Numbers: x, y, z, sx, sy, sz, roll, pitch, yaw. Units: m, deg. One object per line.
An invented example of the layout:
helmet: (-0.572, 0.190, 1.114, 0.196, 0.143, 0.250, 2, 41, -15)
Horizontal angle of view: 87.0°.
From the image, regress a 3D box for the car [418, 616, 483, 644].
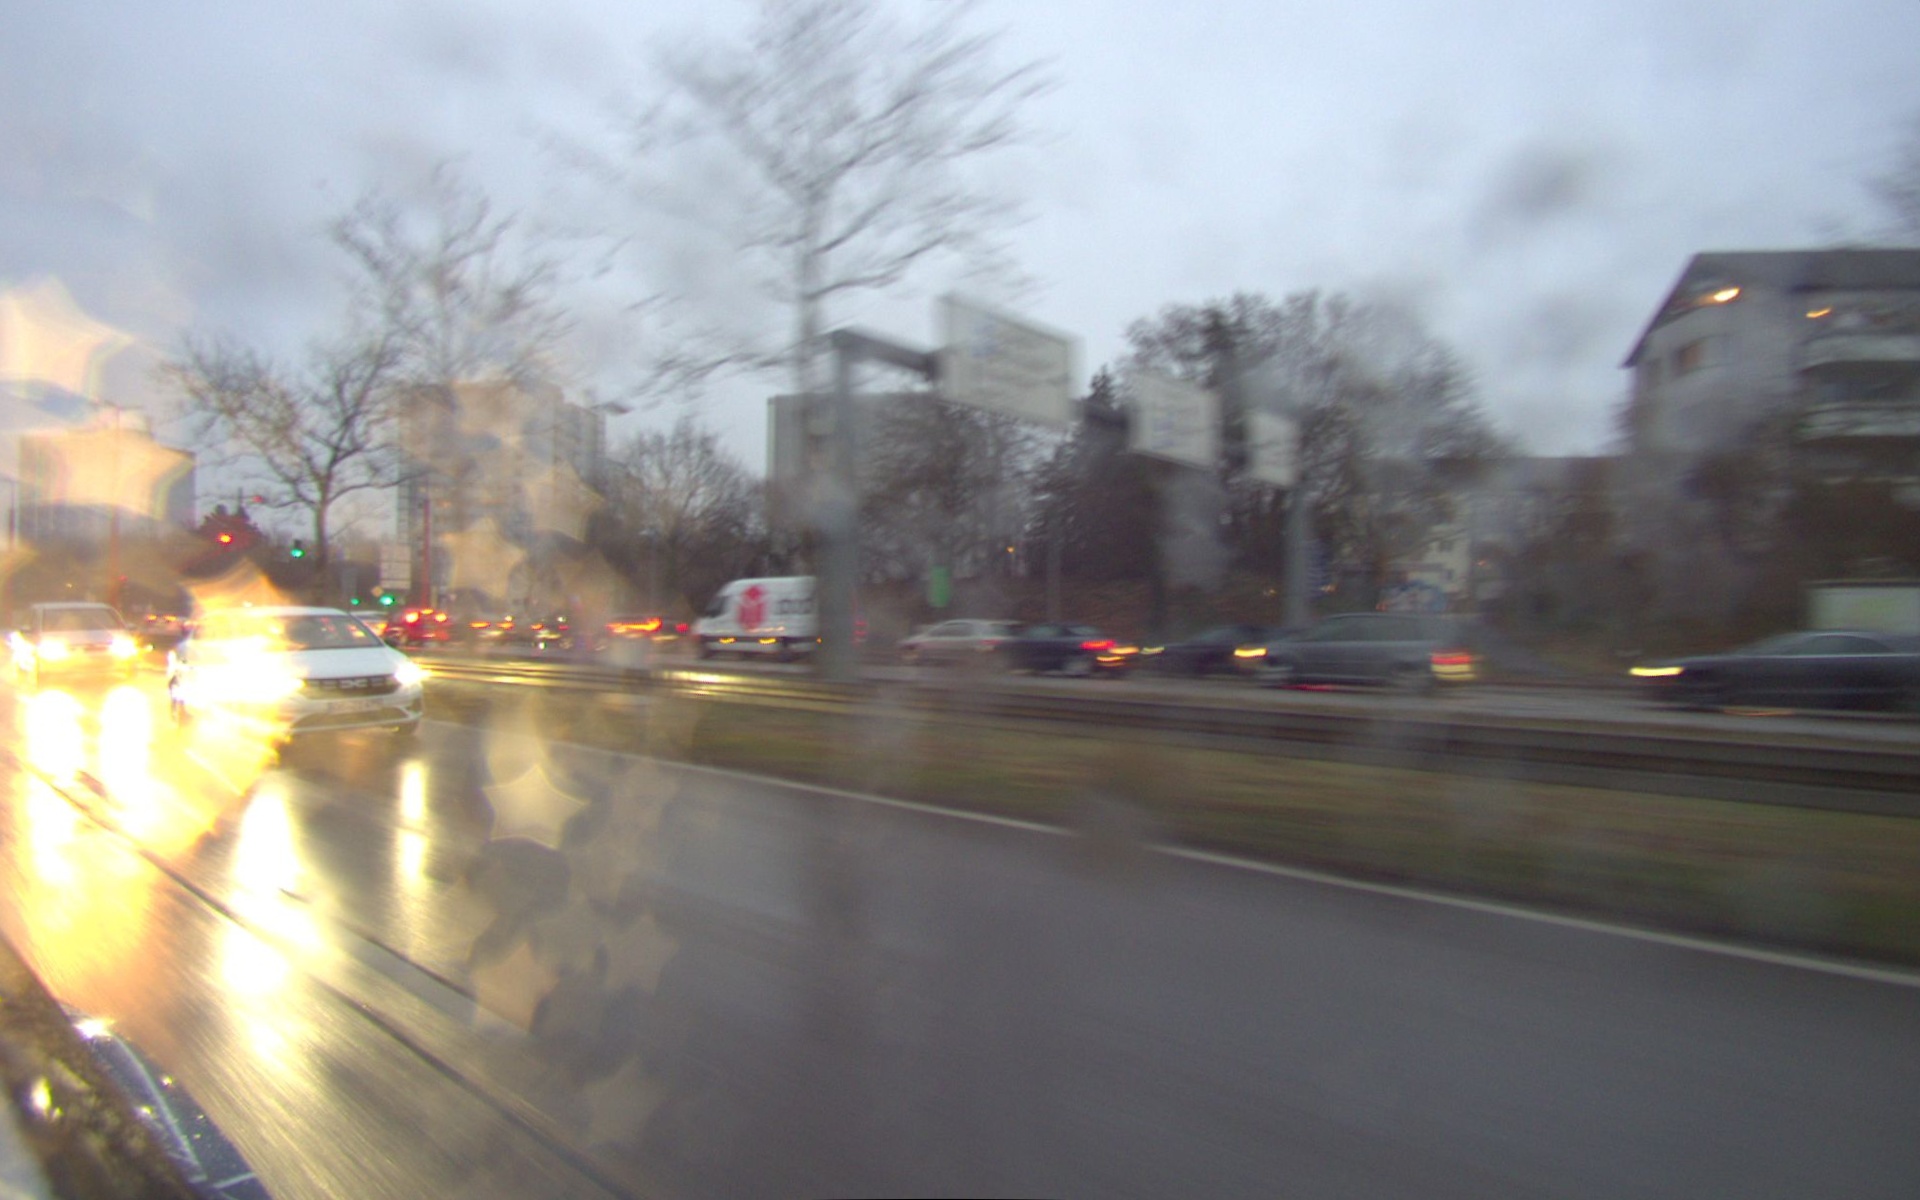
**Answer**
car: (-29.264, 1.697, 58.084, 4.436, 1.506, 1.752, -1, -1, 40)

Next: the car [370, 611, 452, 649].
car: (-23.851, 1.282, 43.925, 4.030, 1.598, 1.752, -1, -1, 40)

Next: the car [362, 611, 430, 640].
car: (-30.653, 1.367, 54.994, 4.436, 1.506, 1.752, -1, -1, 40)

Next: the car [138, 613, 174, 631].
car: (-73.572, 1.993, 92.577, 3.943, 1.565, 1.752, -1, -1, 40)

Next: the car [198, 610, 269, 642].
car: (-36.517, 1.296, 50.797, 4.836, 1.548, 1.752, -1, -1, 40)

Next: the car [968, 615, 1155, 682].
car: (2.426, 1.123, 25.128, 1.882, 1.457, 4.458, 0, 0, -45)

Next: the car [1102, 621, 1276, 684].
car: (5.960, 1.323, 26.599, 4.169, 1.457, 1.718, 0, 0, 41)

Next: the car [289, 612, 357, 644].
car: (-33.471, 1.441, 53.141, 4.284, 1.611, 1.838, -1, -1, 40)

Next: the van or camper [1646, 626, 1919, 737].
van or camper: (13.447, 1.170, 15.102, 5.155, 1.457, 1.884, 0, 0, 41)

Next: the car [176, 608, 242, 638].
car: (-41.480, 1.262, 55.889, 4.073, 1.594, 1.839, -1, -1, 37)

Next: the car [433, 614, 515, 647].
car: (-23.087, 1.401, 47.992, 4.646, 1.501, 1.752, -1, -1, 40)

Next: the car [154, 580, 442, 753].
car: (-7.763, 0.651, 11.713, 4.144, 1.660, 1.696, 0, -1, 41)

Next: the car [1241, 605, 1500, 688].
car: (8.082, 0.841, 20.148, 4.440, 1.457, 1.884, 0, 0, 41)

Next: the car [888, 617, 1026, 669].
car: (-0.146, 1.273, 31.561, 4.087, 1.457, 1.884, 0, 0, 41)

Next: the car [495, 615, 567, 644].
car: (-21.739, 1.480, 51.193, 3.997, 1.409, 1.738, 0, -1, 40)

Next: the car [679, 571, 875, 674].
car: (-6.098, 0.623, 32.849, 7.345, 3.027, 2.267, 1, 1, 42)

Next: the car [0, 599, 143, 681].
car: (-18.888, 0.775, 21.428, 4.186, 1.551, 1.673, 0, 0, 40)

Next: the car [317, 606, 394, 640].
car: (-28.762, 1.079, 48.087, 4.521, 1.545, 1.752, -1, -1, 40)

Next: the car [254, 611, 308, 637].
car: (-37.957, 1.314, 56.518, 3.323, 1.431, 1.635, -1, -1, 40)

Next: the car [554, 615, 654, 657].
car: (-13.984, 1.383, 39.630, 4.444, 1.548, 1.751, -1, -2, 42)

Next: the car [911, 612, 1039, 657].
car: (0.494, 1.183, 36.249, 4.440, 1.457, 1.884, 0, 0, 41)

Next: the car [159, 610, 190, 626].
car: (-78.055, 1.770, 100.559, 4.013, 1.506, 1.602, -1, -1, 40)

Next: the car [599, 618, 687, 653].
car: (-13.707, 1.485, 43.704, 3.997, 1.409, 1.738, 0, -1, 40)
